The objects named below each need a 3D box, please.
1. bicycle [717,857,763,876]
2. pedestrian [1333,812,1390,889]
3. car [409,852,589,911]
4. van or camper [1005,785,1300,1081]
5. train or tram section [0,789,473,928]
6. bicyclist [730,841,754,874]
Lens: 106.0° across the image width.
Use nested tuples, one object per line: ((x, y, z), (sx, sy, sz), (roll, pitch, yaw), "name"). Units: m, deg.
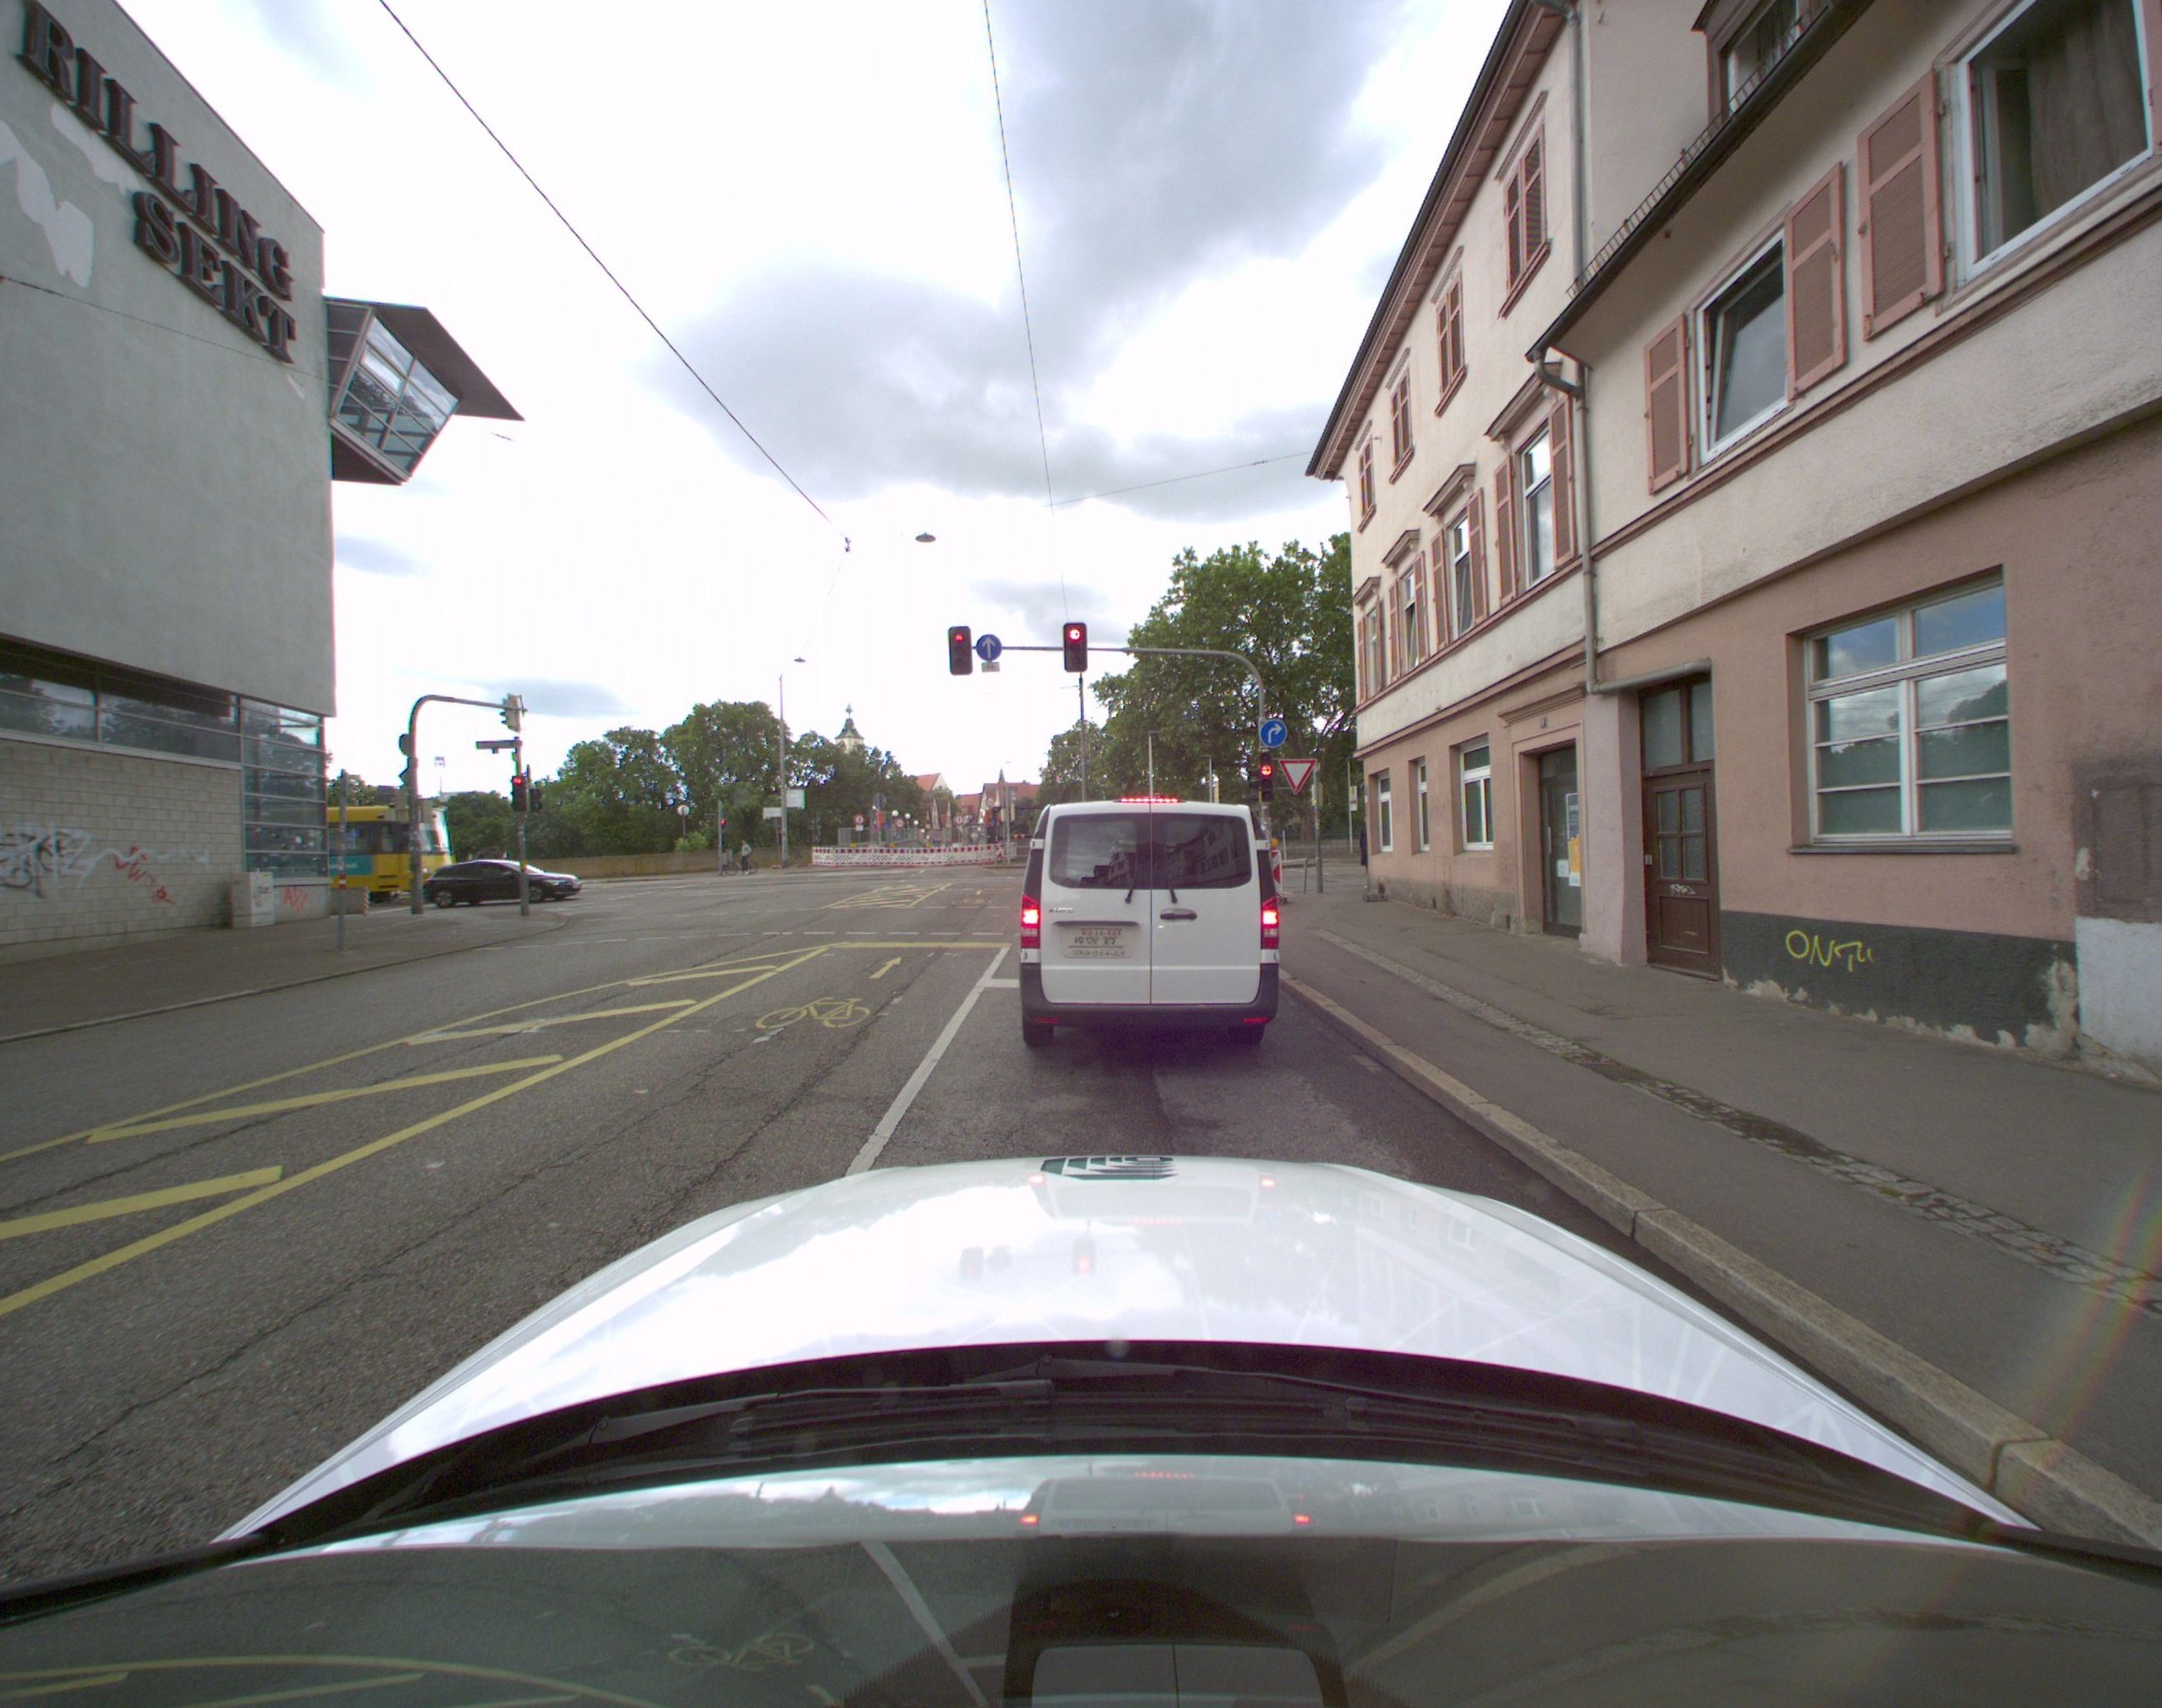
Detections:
((-18.202, 0.640, 43.485), (2.149, 0.892, 0.751), (-3, 2, -39), "bicycle")
((7.058, -0.098, 20.475), (1.156, 1.856, 0.673), (-3, 1, -28), "pedestrian")
((-18.890, 0.846, 26.629), (4.272, 1.574, 1.866), (-3, 2, -9), "car")
((0.434, 0.445, 7.543), (1.932, 1.924, 4.439), (0, 2, -1), "van or camper")
((-32.471, 0.166, 27.479), (18.824, 4.002, 3.246), (-3, 3, -18), "train or tram section")
((-18.115, 0.194, 43.544), (1.010, 1.743, 0.746), (-2, 1, -39), "bicyclist")
